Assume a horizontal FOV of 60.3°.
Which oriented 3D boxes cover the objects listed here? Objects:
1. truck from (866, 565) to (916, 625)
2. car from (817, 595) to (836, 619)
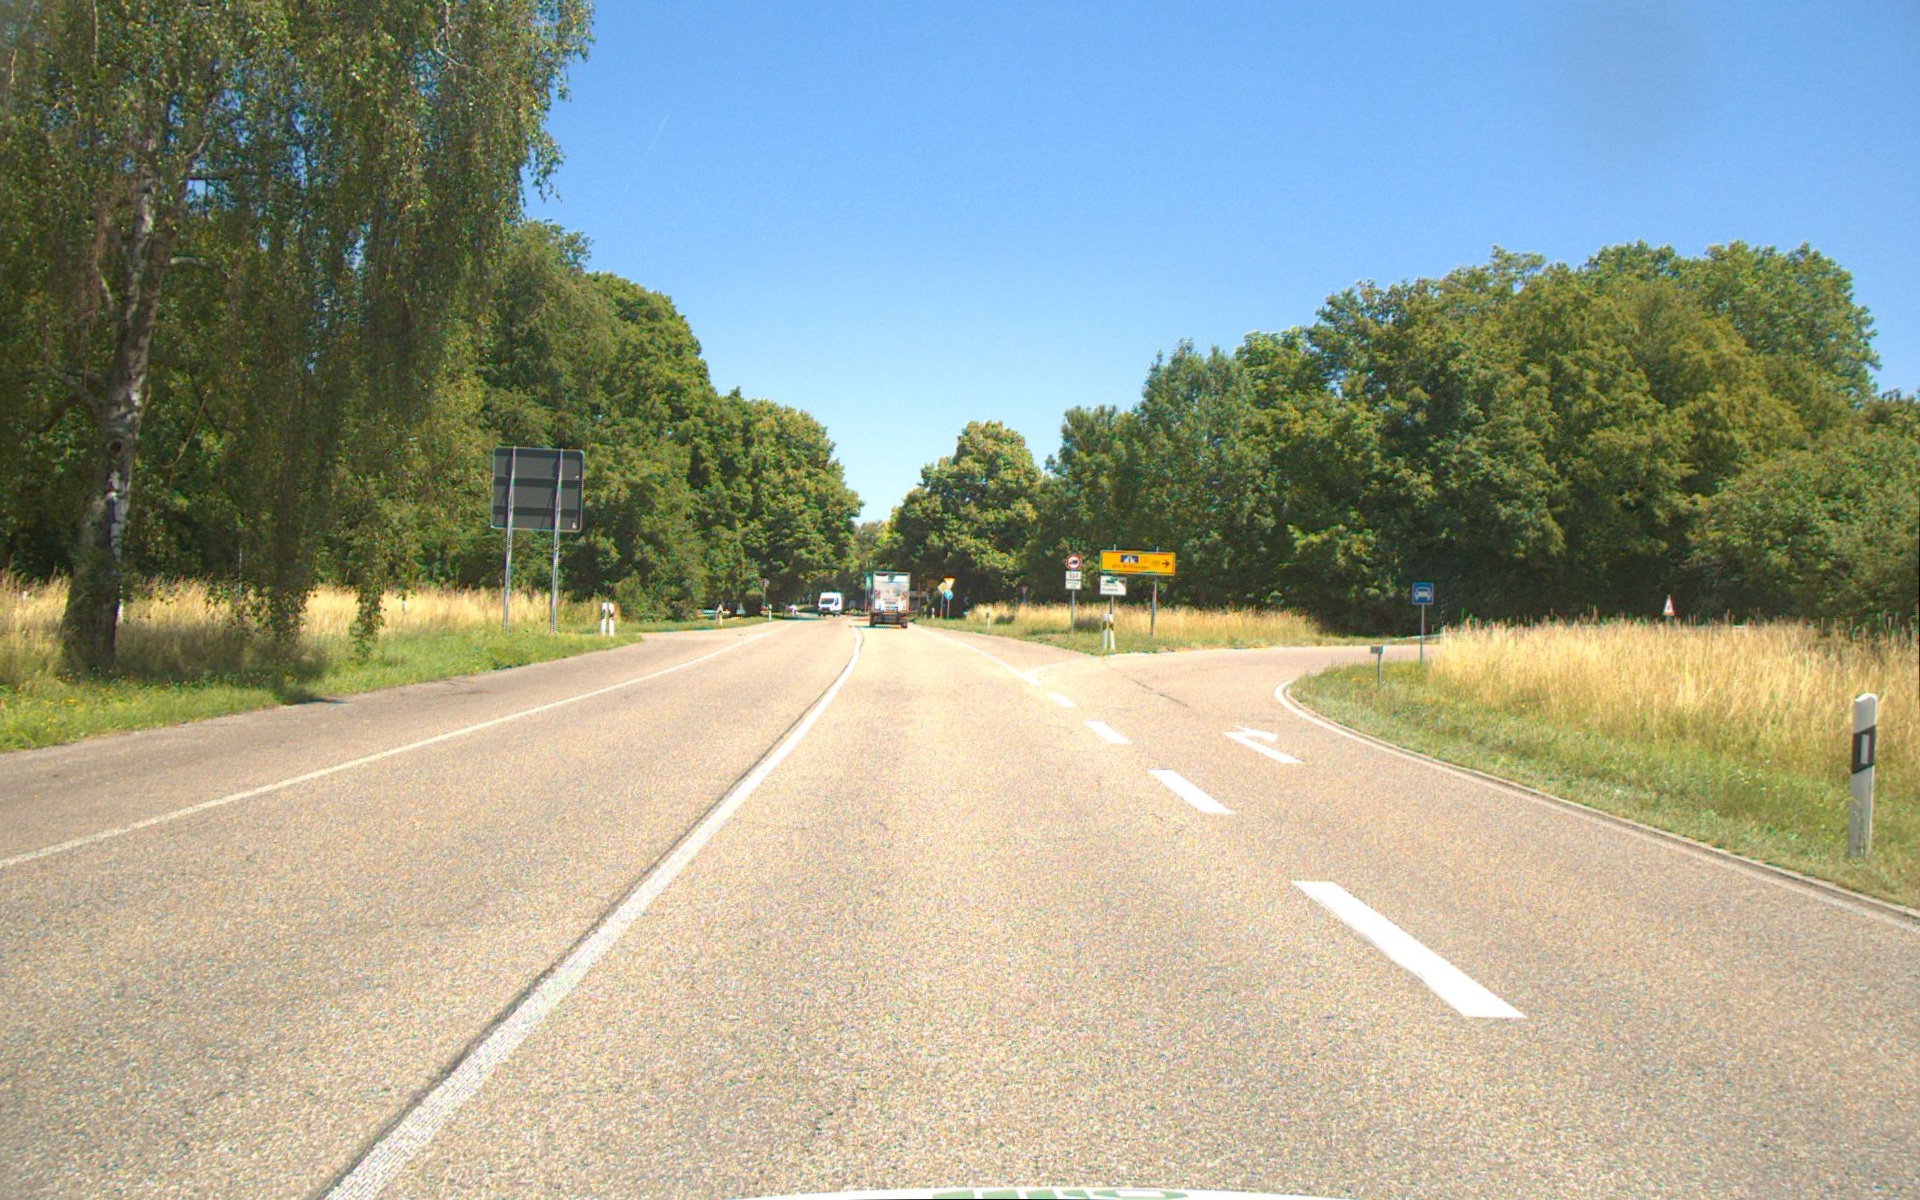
[{"bbox_3d":[-3.777,-0.268,91.449,2.482,3.190,5.361,1,0,0],"label":"truck"},{"bbox_3d":[-15.444,0.821,191.828,2.032,2.673,6.779,1,-1,-3],"label":"car"}]
